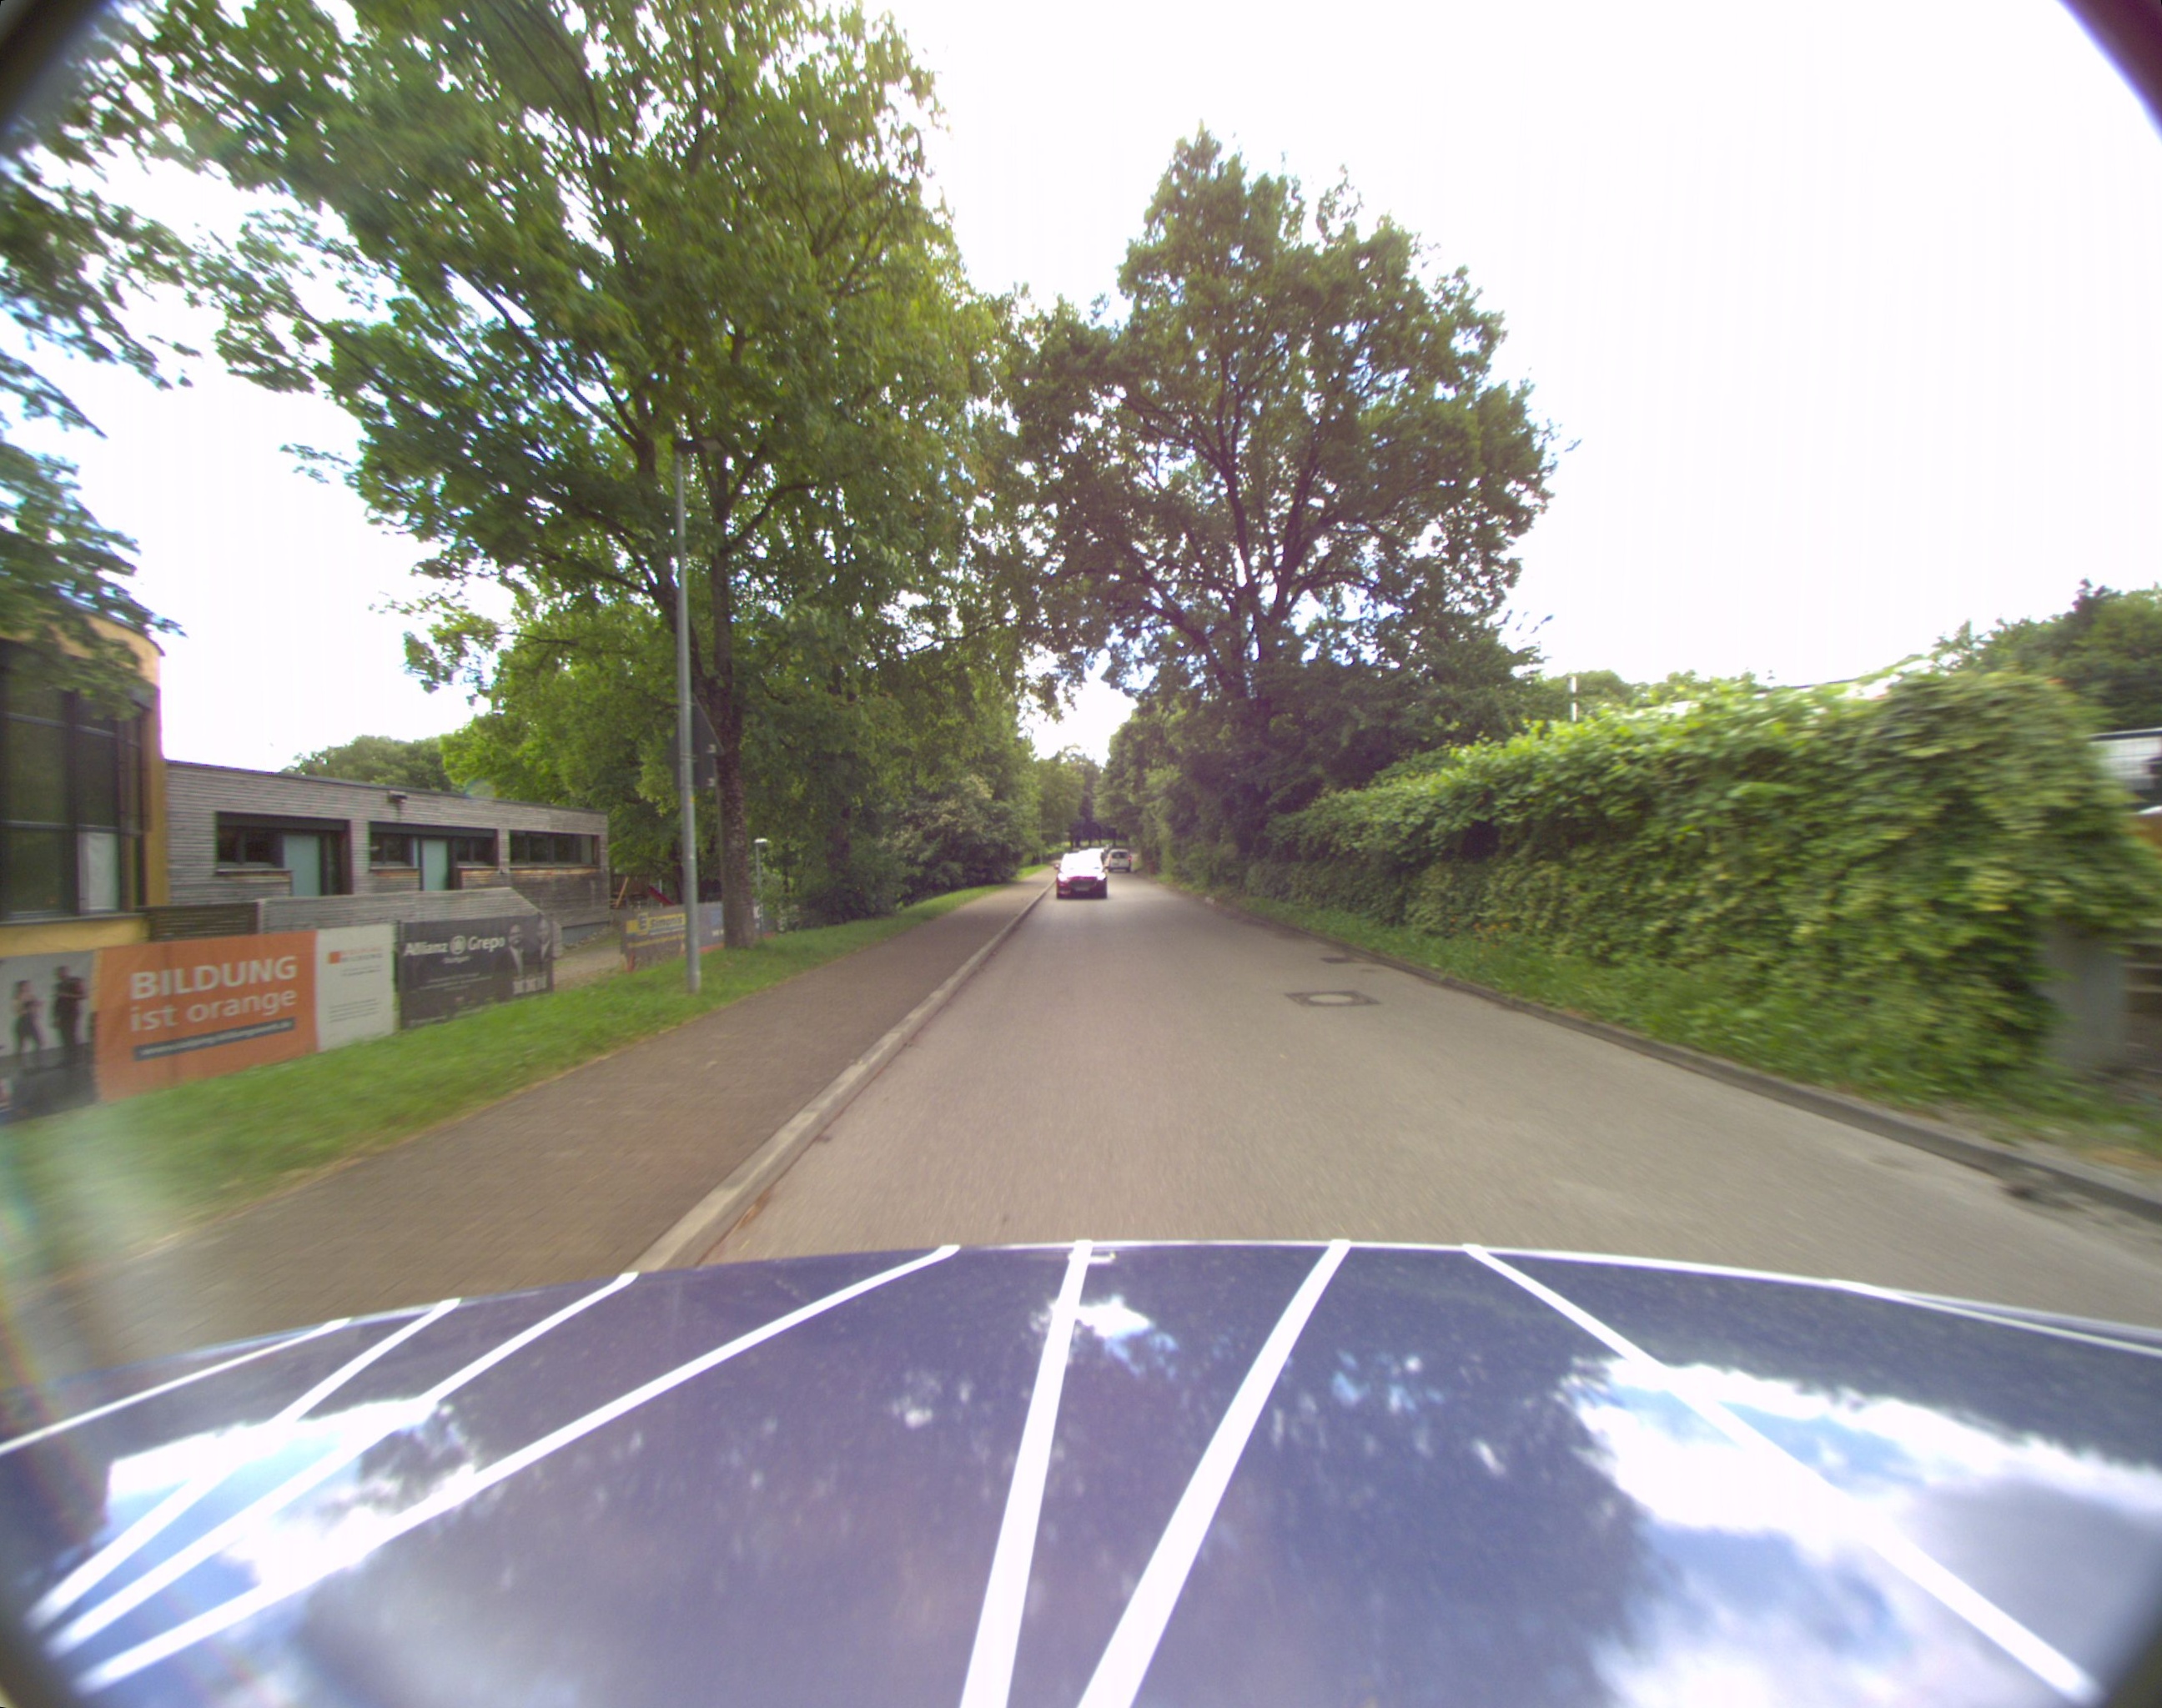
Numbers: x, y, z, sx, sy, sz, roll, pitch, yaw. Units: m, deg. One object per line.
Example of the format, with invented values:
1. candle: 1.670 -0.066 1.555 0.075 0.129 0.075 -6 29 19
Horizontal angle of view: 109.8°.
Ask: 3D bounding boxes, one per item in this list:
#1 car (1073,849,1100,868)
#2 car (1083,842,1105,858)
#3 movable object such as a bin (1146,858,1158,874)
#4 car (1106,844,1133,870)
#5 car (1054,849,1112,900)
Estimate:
1. car: 0.544 0.346 65.920 1.998 1.521 4.001 0 1 5
2. car: 1.433 -0.437 79.583 1.998 1.521 4.001 0 1 5
3. movable object such as a bin: 4.544 0.747 48.737 0.649 1.007 0.632 0 2 16
4. car: 3.002 0.186 60.077 1.878 1.903 4.430 -1 1 -1
5. car: 0.143 0.722 28.908 1.816 1.718 4.001 1 2 5
